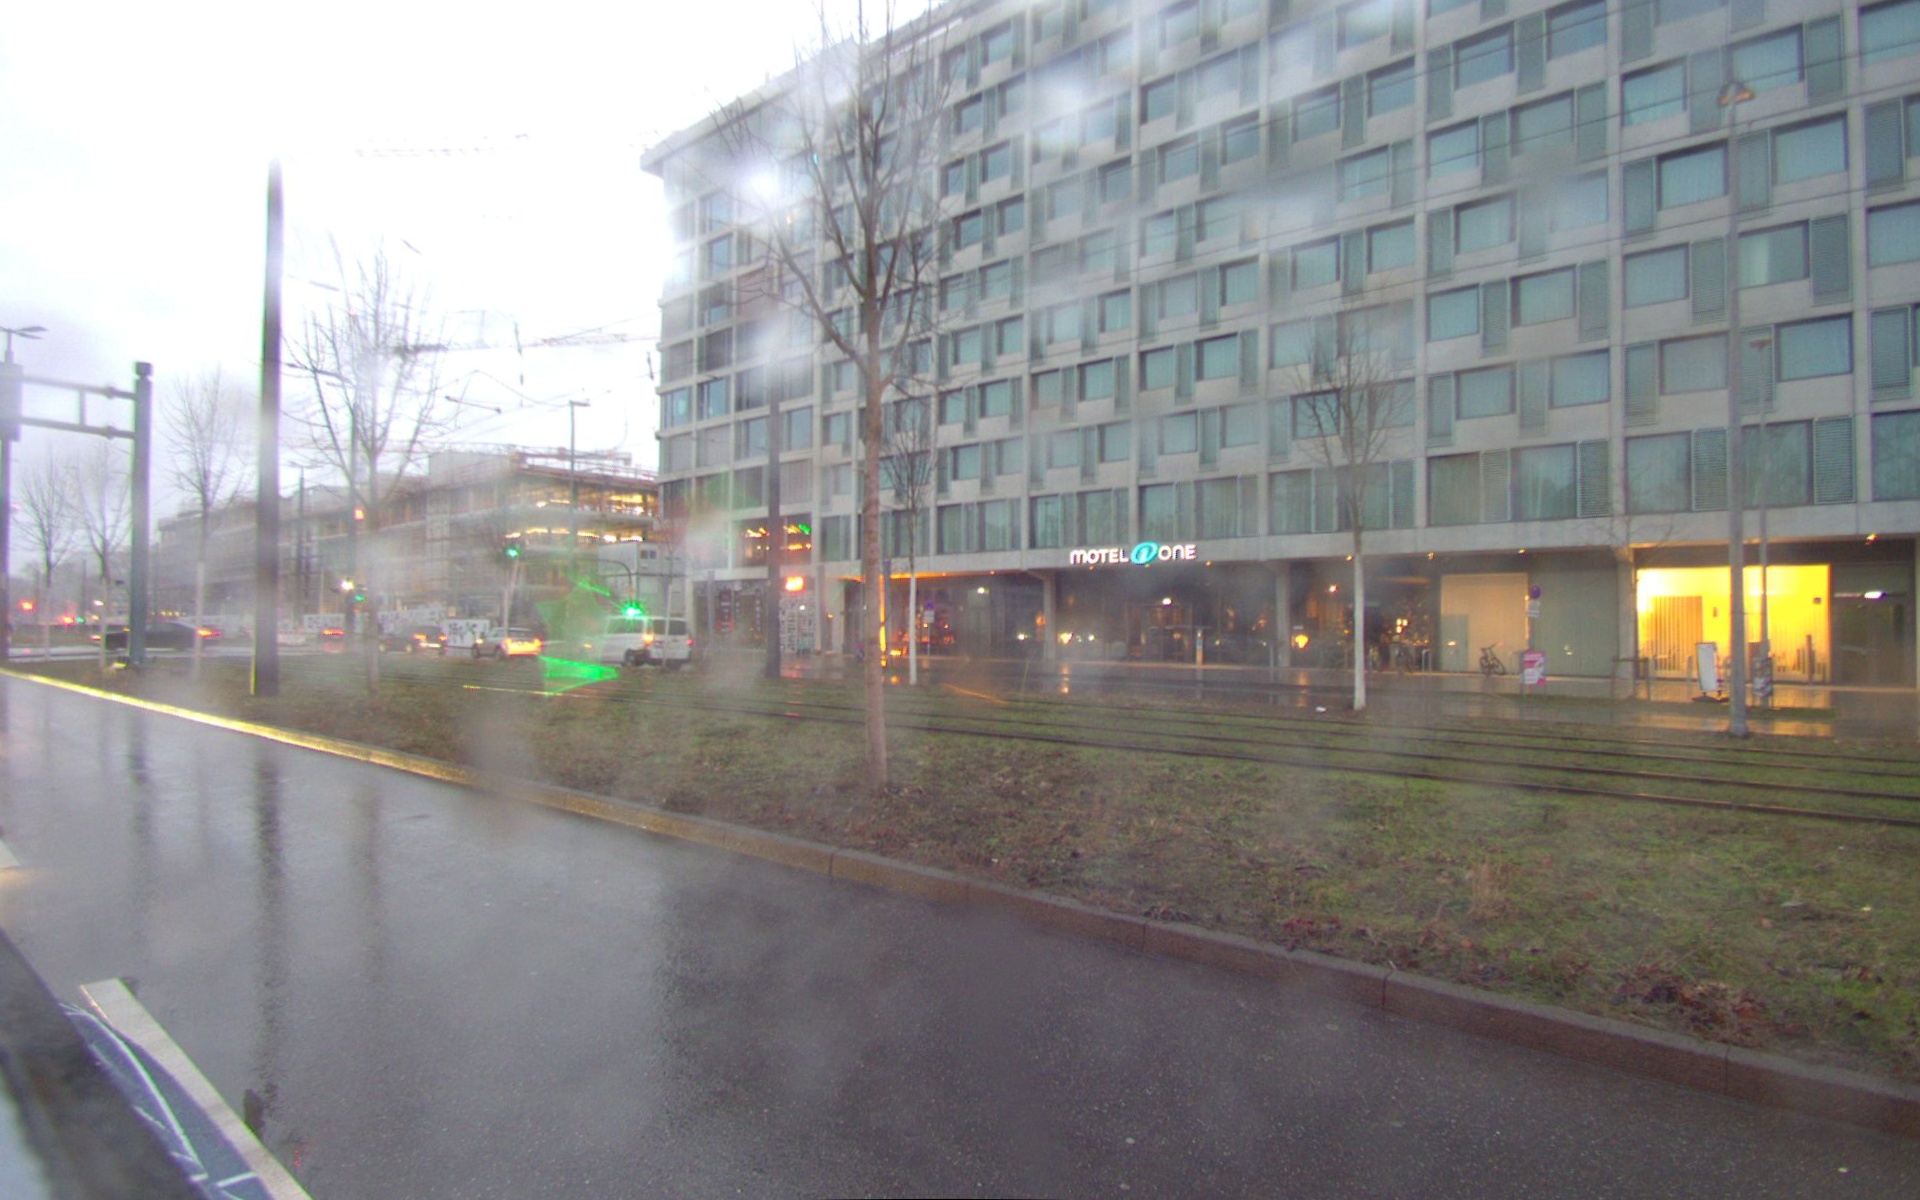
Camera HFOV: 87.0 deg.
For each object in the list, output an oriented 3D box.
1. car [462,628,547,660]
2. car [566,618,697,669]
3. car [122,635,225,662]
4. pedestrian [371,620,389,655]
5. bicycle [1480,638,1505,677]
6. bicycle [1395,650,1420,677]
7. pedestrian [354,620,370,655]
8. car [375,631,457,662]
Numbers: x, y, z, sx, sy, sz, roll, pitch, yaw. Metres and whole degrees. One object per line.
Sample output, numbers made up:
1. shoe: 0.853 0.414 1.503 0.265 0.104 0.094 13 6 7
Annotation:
1. car: -19.416 1.839 43.043 3.998 1.317 1.793 -1 -3 41
2. car: -11.559 1.498 35.412 5.041 1.682 2.060 -1 -3 41
3. car: -39.491 2.408 50.861 3.939 1.284 1.819 2 -3 -43
4. pedestrian: -31.160 2.004 54.350 0.699 1.818 0.771 -1 0 -39
5. bicycle: 18.126 1.938 34.416 0.465 1.247 1.520 -1 0 39
6. bicycle: 15.818 2.245 35.783 0.465 0.860 1.332 -1 0 39
7. pedestrian: -31.880 1.999 53.944 0.698 1.818 0.772 -1 0 -34
8. car: -26.526 2.227 49.286 4.254 1.411 2.084 -1 -3 40
